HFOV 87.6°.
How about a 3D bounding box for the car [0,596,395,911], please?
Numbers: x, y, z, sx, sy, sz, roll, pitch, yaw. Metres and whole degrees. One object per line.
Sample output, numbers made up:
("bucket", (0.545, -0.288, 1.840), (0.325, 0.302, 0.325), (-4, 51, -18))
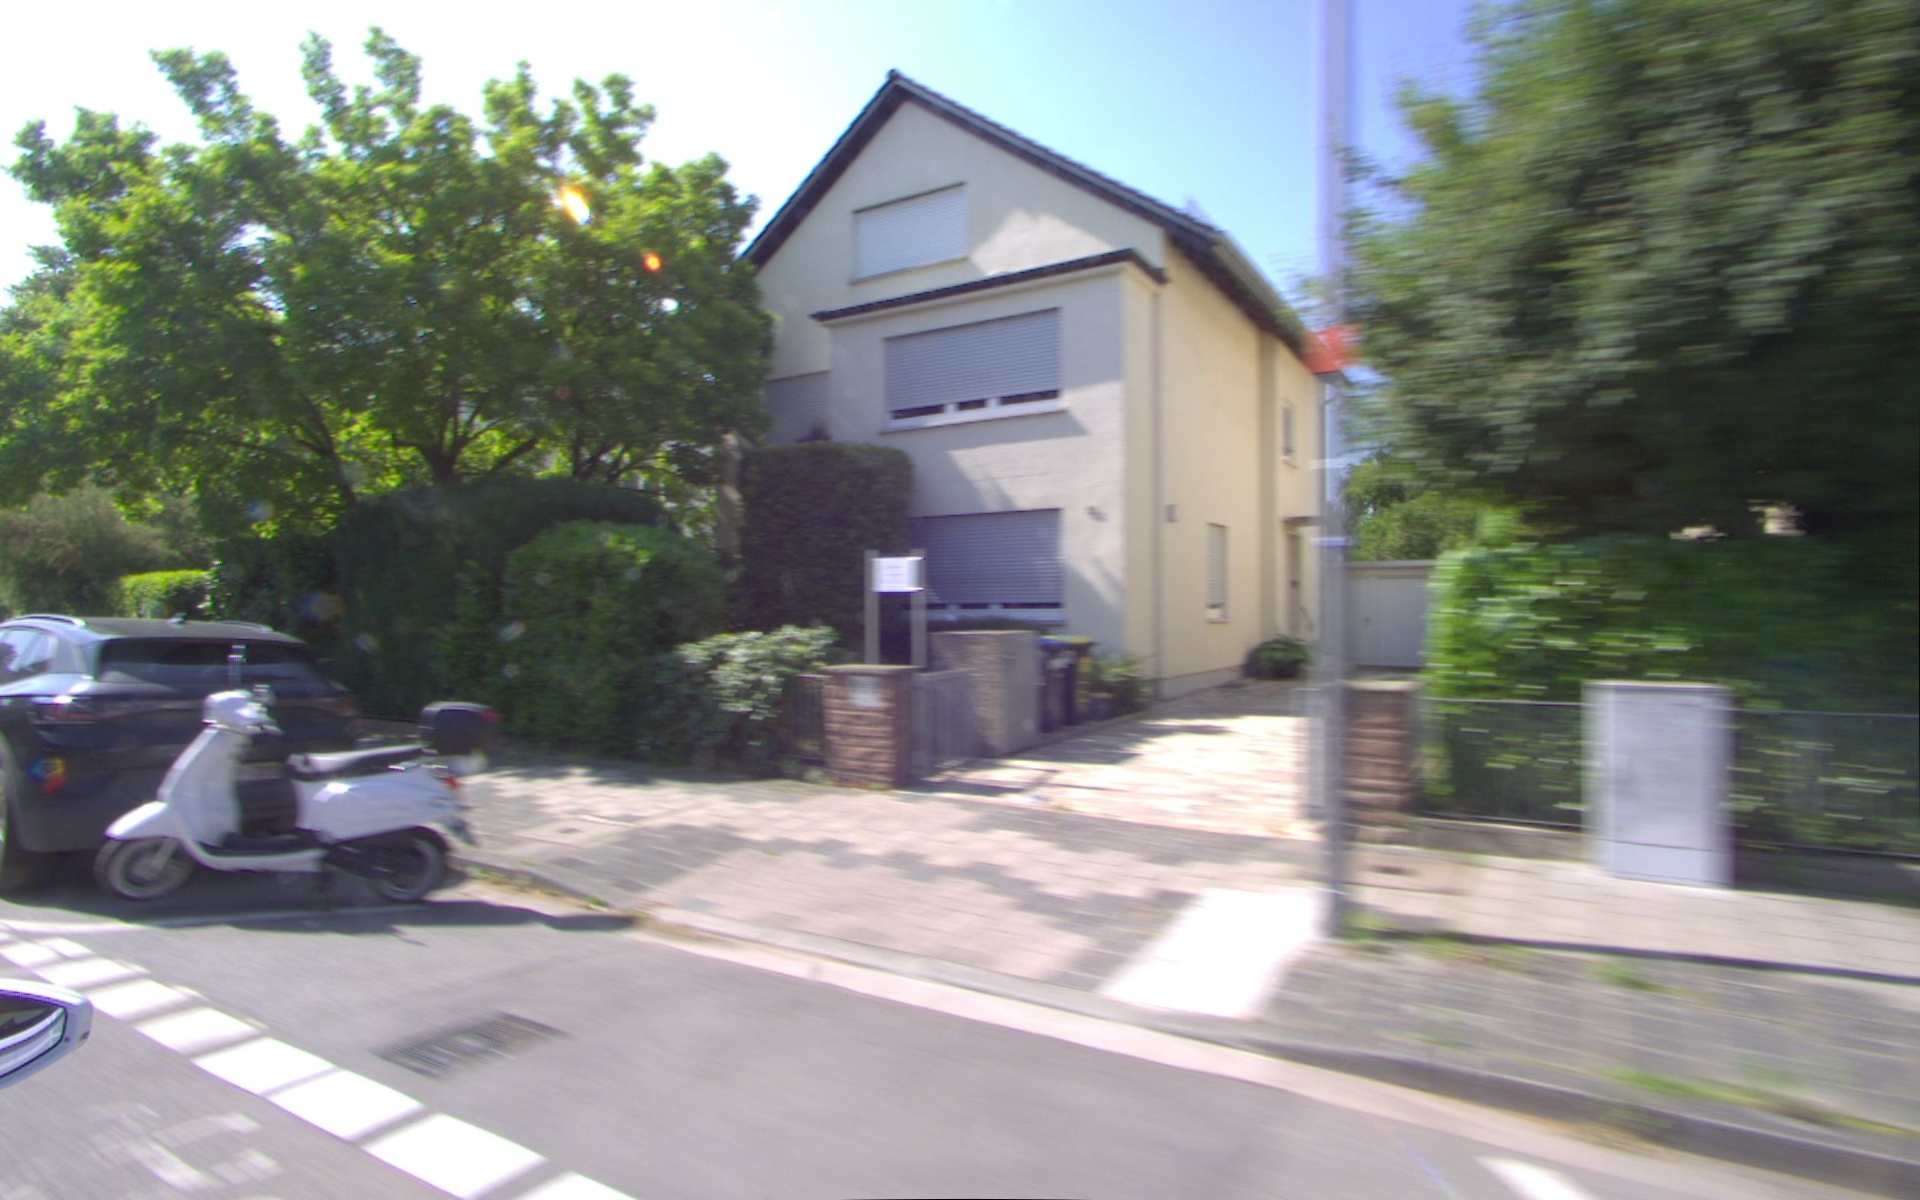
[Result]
("car", (-6.169, 0.887, 7.268), (4.408, 1.658, 1.781), (-1, -3, 34))

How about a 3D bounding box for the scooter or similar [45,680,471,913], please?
("scooter or similar", (-3.832, 1.060, 5.649), (1.765, 1.168, 0.720), (3, -4, -15))

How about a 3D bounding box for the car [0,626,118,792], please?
("car", (-10.479, 1.038, 10.390), (3.849, 1.533, 1.705), (-1, -3, 35))
